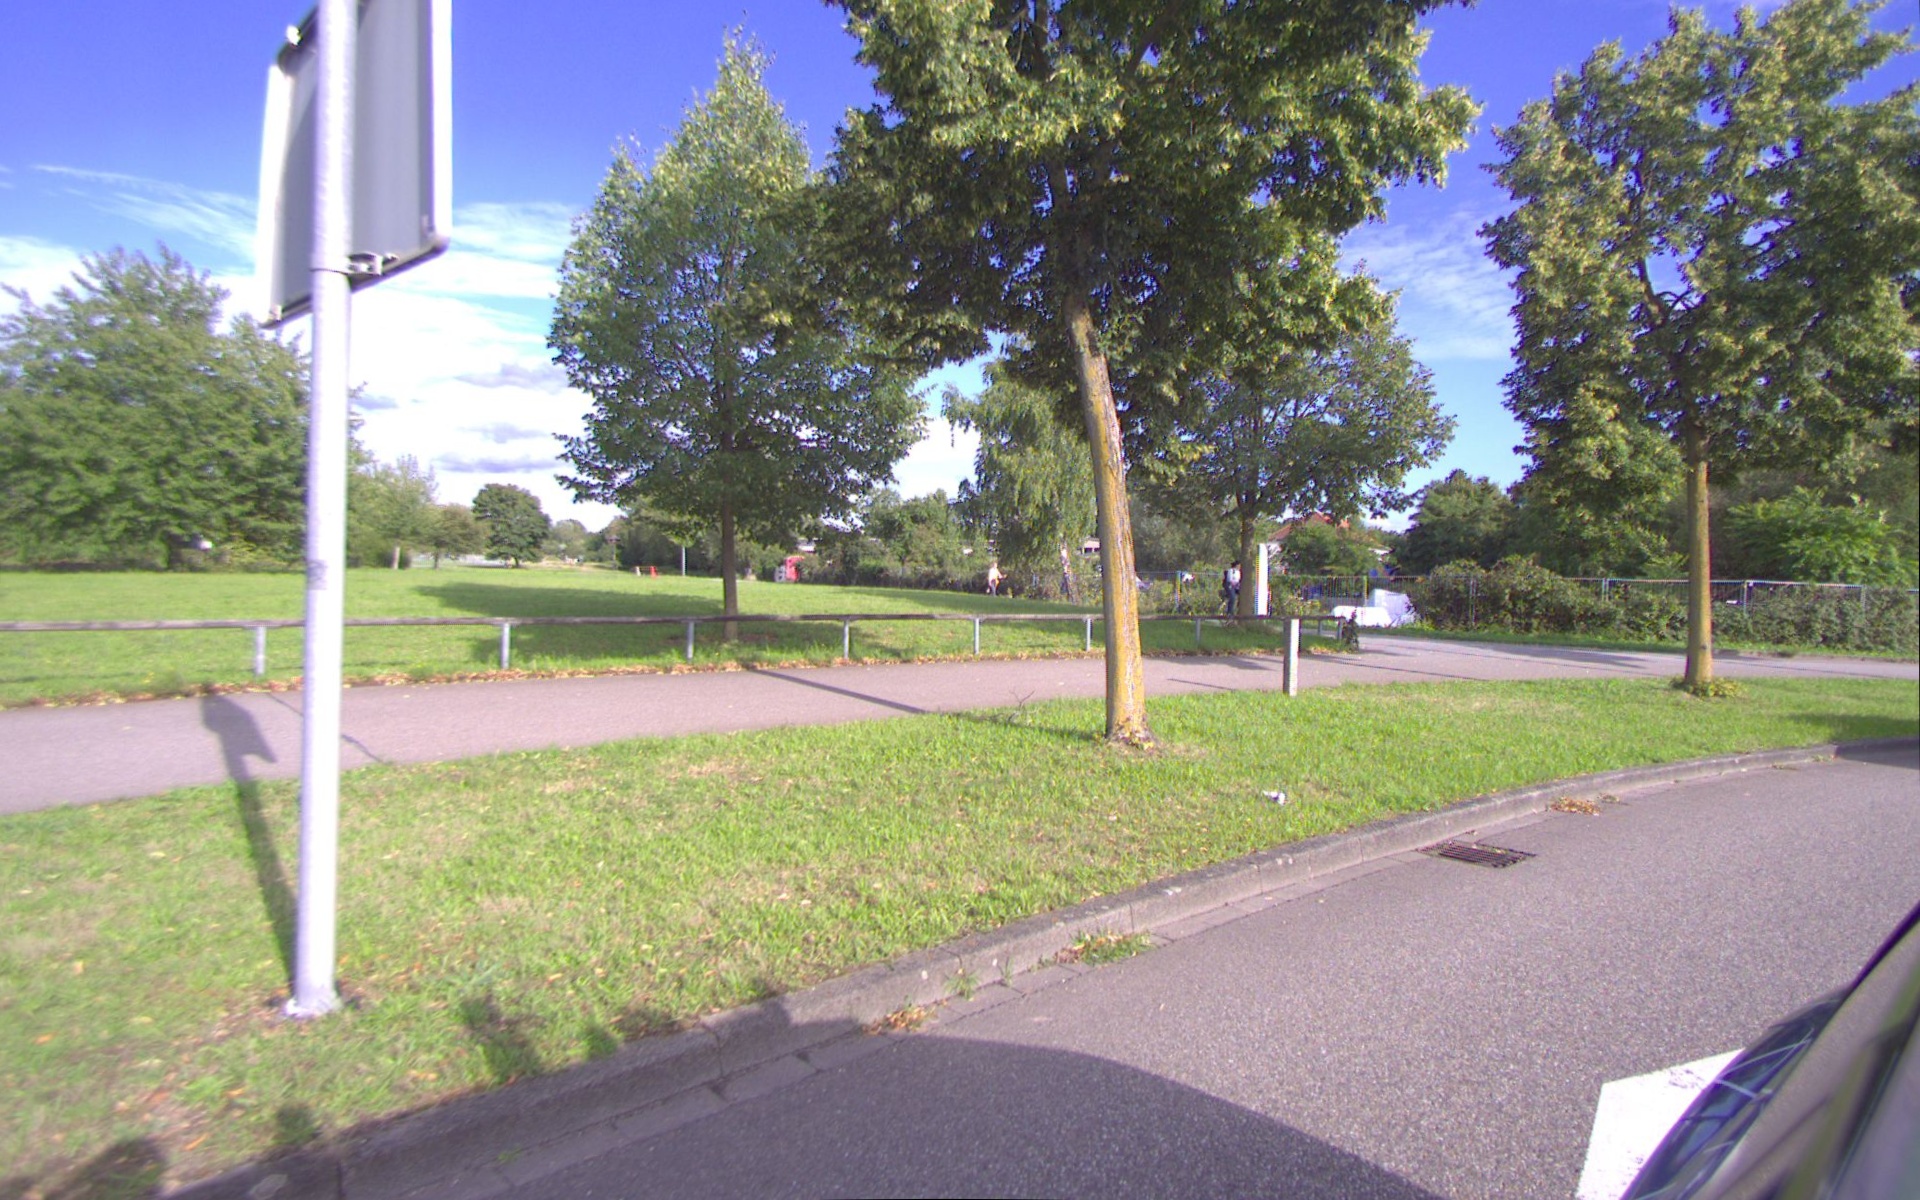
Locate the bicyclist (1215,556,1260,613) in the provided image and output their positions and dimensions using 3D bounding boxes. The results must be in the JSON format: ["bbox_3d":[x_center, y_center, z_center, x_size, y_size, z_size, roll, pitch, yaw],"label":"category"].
[{"bbox_3d":[7.834,-0.437,28.582,0.787,1.566,0.907,1,2,-22],"label":"bicyclist"}]

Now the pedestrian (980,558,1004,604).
[{"bbox_3d":[1.246,-0.737,39.149,0.655,1.754,0.597,0,2,-36],"label":"pedestrian"}]

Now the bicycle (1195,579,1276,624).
[{"bbox_3d":[7.765,0.018,28.685,0.787,1.140,2.608,1,2,-21],"label":"bicycle"}]
